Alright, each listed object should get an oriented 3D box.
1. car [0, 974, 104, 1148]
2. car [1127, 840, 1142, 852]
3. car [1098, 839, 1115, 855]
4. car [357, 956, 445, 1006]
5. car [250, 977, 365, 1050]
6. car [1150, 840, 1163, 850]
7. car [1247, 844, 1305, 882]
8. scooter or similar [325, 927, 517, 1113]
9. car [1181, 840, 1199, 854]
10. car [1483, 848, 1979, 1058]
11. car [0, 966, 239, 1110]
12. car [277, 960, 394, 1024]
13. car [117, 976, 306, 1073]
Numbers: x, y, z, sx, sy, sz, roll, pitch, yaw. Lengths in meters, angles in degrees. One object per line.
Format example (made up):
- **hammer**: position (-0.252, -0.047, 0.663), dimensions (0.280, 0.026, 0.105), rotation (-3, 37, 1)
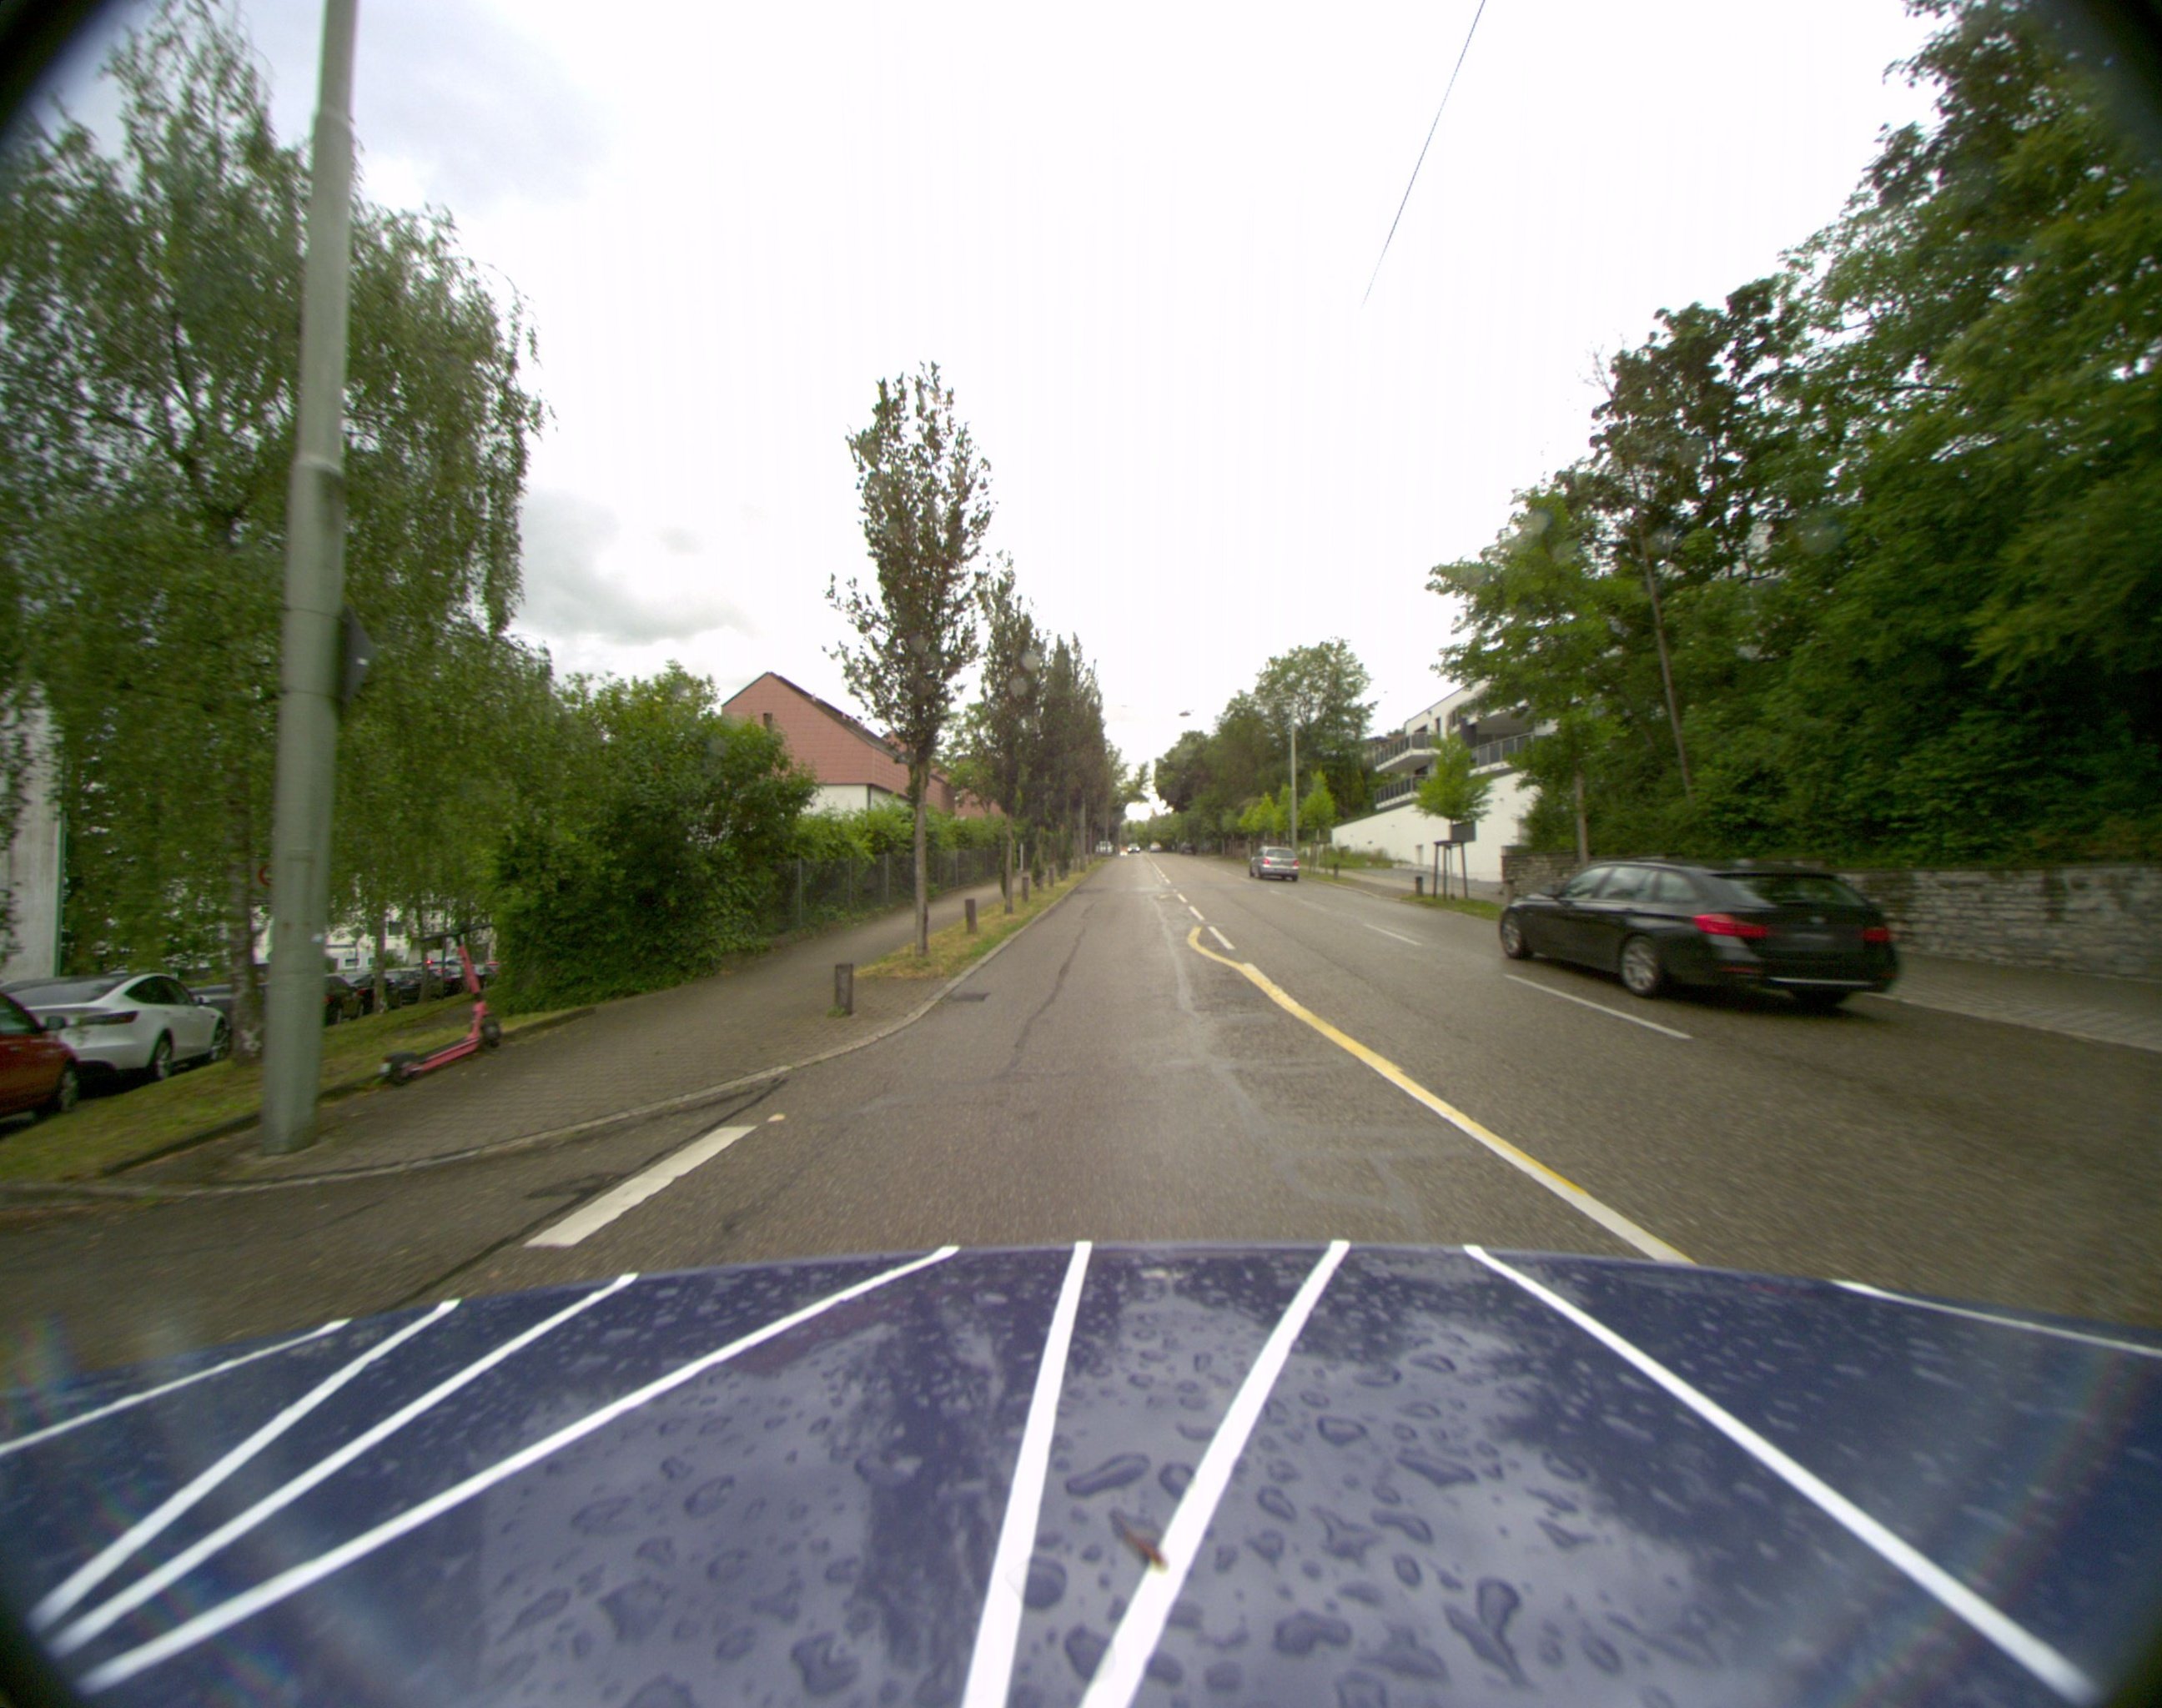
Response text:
- **car**: position (-10.645, 1.942, 6.709), dimensions (1.648, 1.512, 3.563), rotation (-2, -5, -38)
- **car**: position (8.618, -1.316, 122.269), dimensions (1.997, 1.674, 4.002), rotation (-4, 0, 7)
- **car**: position (2.766, -0.740, 82.517), dimensions (1.829, 1.620, 3.999), rotation (-1, 2, 3)
- **car**: position (-27.509, 5.077, 30.877), dimensions (2.003, 1.585, 3.993), rotation (-4, -3, -33)
- **car**: position (-20.690, 4.198, 20.463), dimensions (1.598, 1.370, 3.891), rotation (-4, -2, -38)
- **car**: position (11.546, -1.442, 116.365), dimensions (1.765, 1.478, 4.000), rotation (0, 2, 4)
- **car**: position (8.474, 0.361, 33.298), dimensions (1.769, 1.477, 3.801), rotation (2, 1, 4)
- **scooter or similar**: position (-5.506, 1.336, 6.436), dimensions (0.343, 1.247, 1.267), rotation (-4, 2, 3)
- **car**: position (12.834, -0.830, 89.593), dimensions (1.749, 1.540, 3.918), rotation (2, 2, 3)
- **car**: position (6.648, 0.813, 8.682), dimensions (1.915, 1.576, 4.587), rotation (2, 2, 5)
- **car**: position (-13.979, 2.533, 10.898), dimensions (1.730, 1.532, 4.366), rotation (-4, -5, -38)
- **car**: position (-24.378, 4.453, 25.015), dimensions (2.003, 1.586, 3.993), rotation (-4, -3, -35)
- **car**: position (-17.734, 3.389, 15.741), dimensions (1.730, 1.412, 4.294), rotation (-4, -4, -38)
